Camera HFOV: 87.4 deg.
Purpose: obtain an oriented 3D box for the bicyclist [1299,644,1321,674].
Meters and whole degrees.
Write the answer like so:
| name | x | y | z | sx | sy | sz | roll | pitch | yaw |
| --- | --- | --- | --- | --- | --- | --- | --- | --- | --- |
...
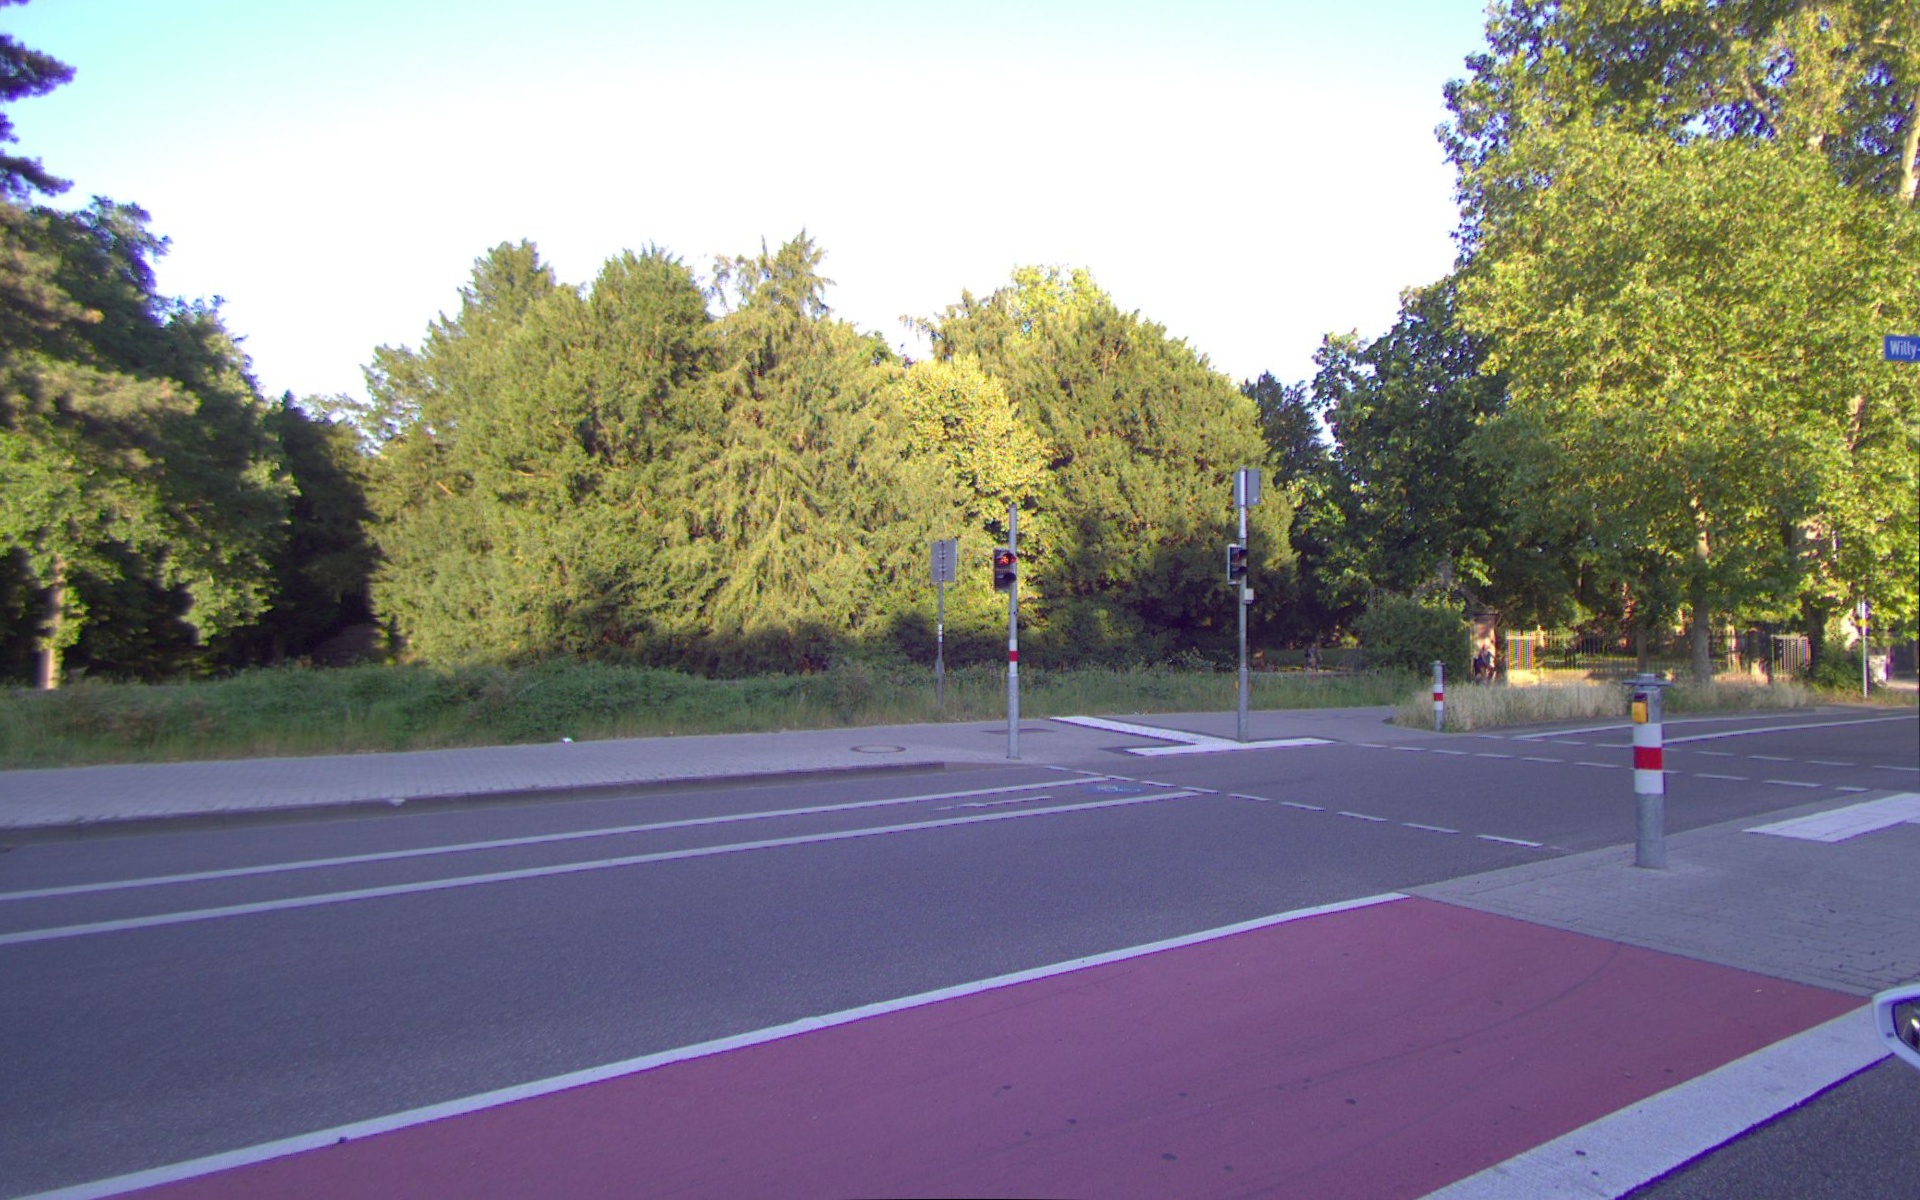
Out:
| name | x | y | z | sx | sy | sz | roll | pitch | yaw |
| --- | --- | --- | --- | --- | --- | --- | --- | --- | --- |
| bicyclist | 16.302 | 2.719 | 46.786 | 0.568 | 1.379 | 0.830 | 2 | -2 | -39 |

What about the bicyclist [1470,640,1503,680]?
| name | x | y | z | sx | sy | sz | roll | pitch | yaw |
| --- | --- | --- | --- | --- | --- | --- | --- | --- | --- |
| bicyclist | 19.484 | 2.225 | 37.205 | 0.776 | 1.445 | 0.892 | 0 | -2 | 3 |

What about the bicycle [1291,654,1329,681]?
| name | x | y | z | sx | sy | sz | roll | pitch | yaw |
| --- | --- | --- | --- | --- | --- | --- | --- | --- | --- |
| bicycle | 16.289 | 3.127 | 46.753 | 0.568 | 1.245 | 1.614 | 2 | -3 | -39 |

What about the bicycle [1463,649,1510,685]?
| name | x | y | z | sx | sy | sz | roll | pitch | yaw |
| --- | --- | --- | --- | --- | --- | --- | --- | --- | --- |
| bicycle | 19.463 | 2.472 | 37.187 | 0.776 | 1.273 | 1.981 | 0 | -2 | 3 |
